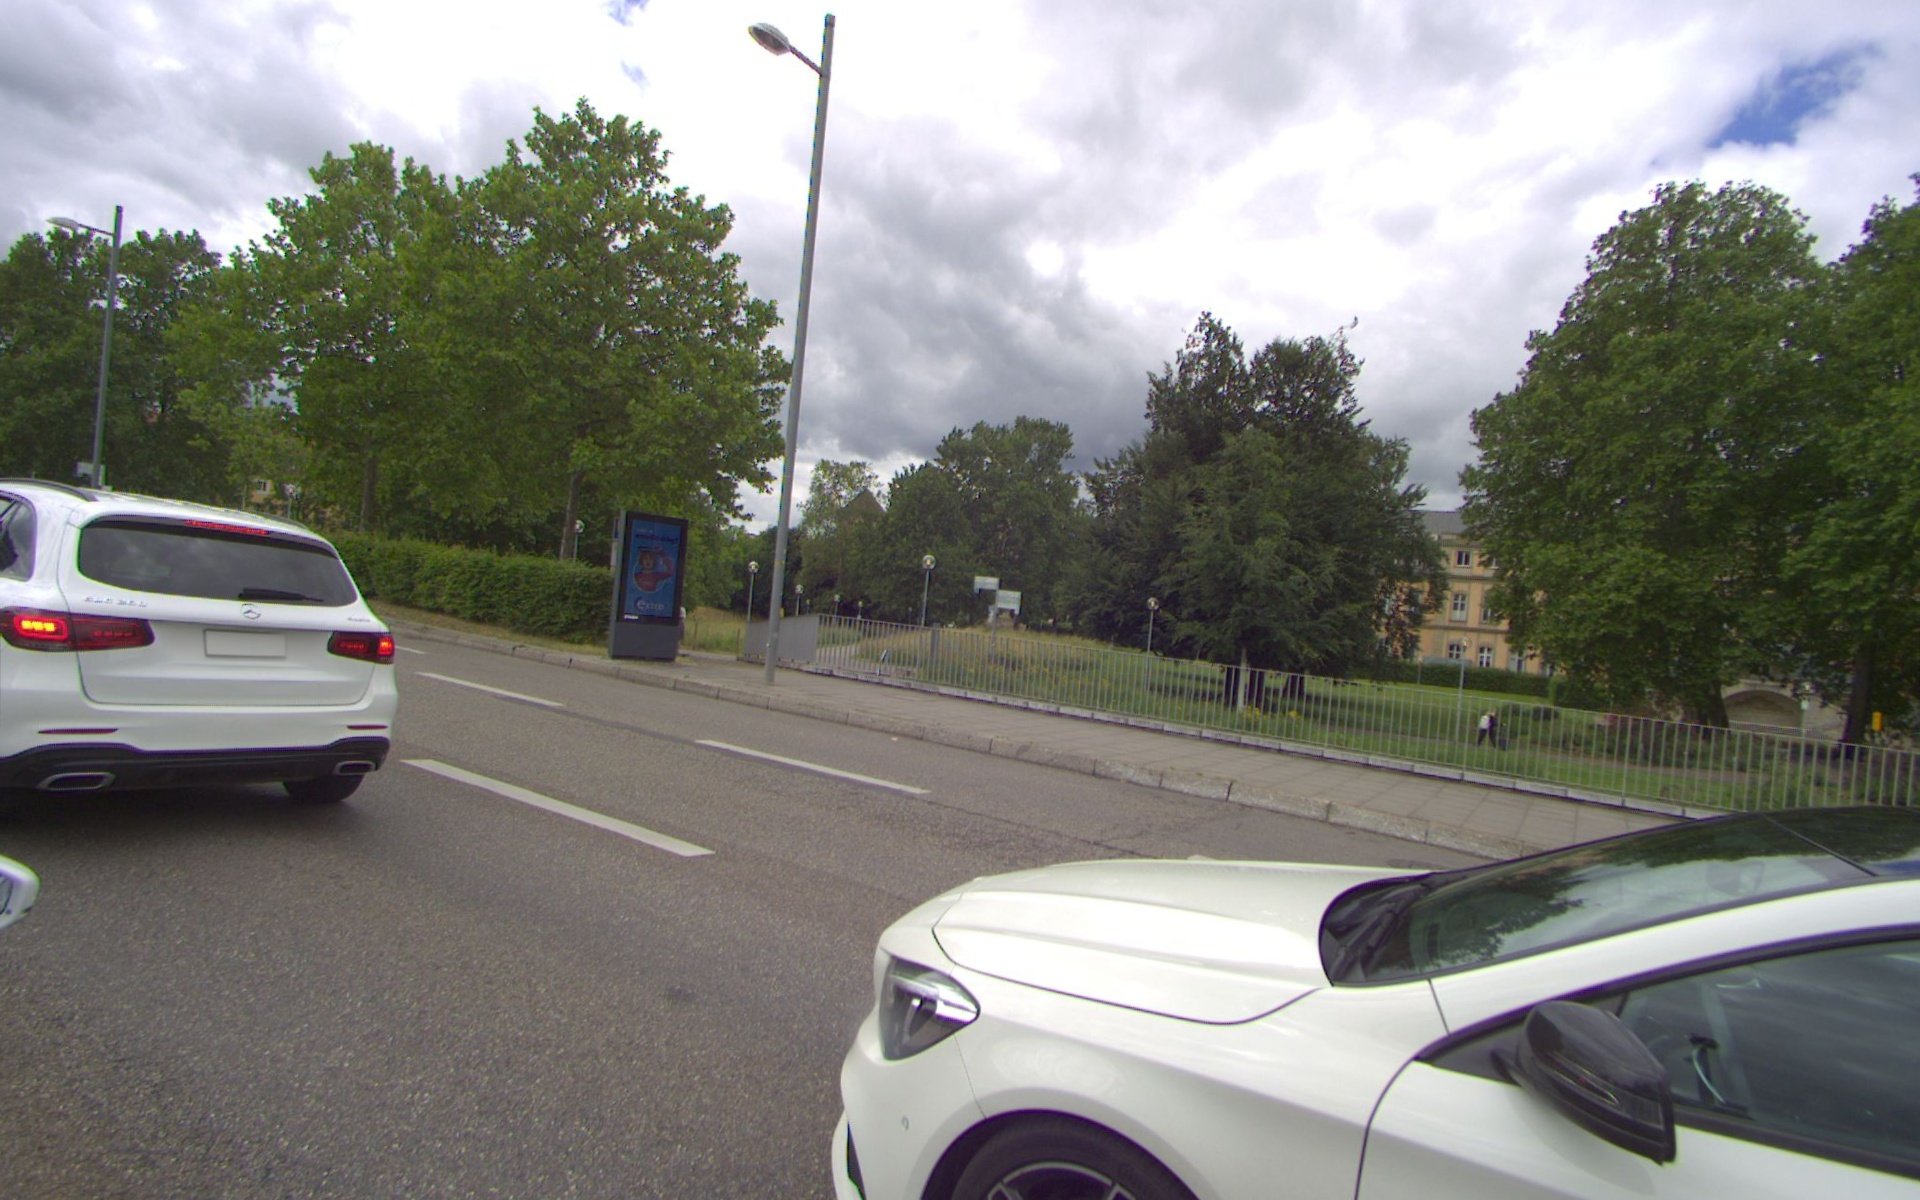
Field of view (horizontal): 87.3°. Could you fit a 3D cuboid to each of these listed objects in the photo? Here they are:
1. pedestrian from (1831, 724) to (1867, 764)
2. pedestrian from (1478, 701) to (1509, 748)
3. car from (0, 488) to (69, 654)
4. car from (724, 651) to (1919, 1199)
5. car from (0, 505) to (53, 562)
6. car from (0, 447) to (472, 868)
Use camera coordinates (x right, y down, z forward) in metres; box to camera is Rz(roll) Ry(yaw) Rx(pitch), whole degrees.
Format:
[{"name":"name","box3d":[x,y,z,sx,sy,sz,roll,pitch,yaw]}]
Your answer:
[{"name":"pedestrian","box3d":[49.322,7.976,55.839,0.931,2.036,1.100,7,-2,-24]},{"name":"pedestrian","box3d":[19.823,4.627,37.405,0.645,1.619,0.684,6,-2,0]},{"name":"car","box3d":[-11.347,-0.511,10.454,4.417,1.569,1.929,6,-2,33]},{"name":"car","box3d":[1.847,1.084,1.823,4.454,1.436,1.796,5,-2,33]},{"name":"car","box3d":[-29.267,-2.116,30.306,4.459,1.476,1.933,5,-3,37]},{"name":"car","box3d":[-5.141,0.107,5.954,4.417,1.673,1.929,7,-1,33]}]
